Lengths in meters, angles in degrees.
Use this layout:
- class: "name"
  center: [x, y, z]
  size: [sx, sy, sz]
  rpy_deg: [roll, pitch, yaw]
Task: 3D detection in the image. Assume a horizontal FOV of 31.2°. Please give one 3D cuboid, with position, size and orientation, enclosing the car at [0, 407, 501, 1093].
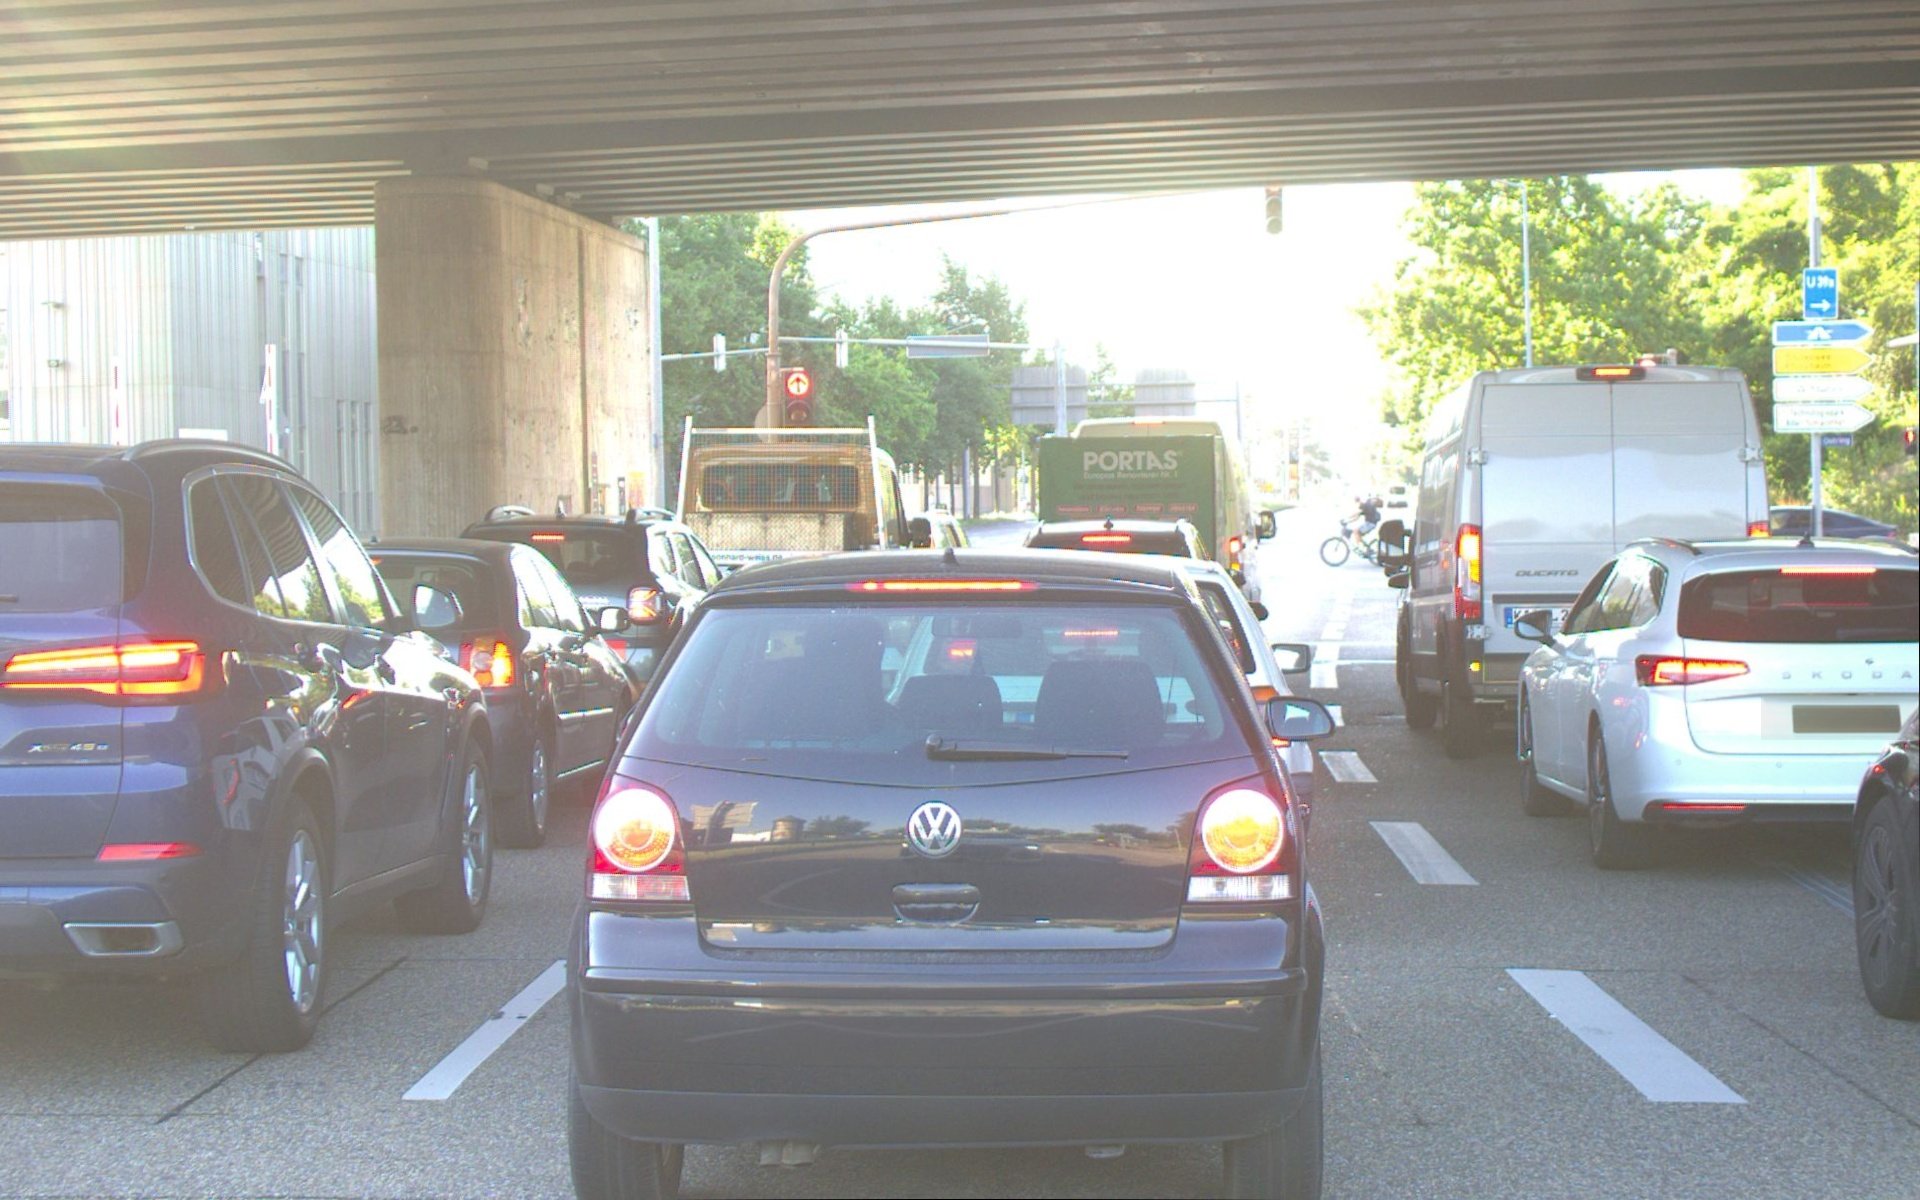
- class: "car"
  center: [-2.737, 0.377, 10.962]
  size: [1.829, 1.732, 4.461]
  rpy_deg: [-1, 0, 1]

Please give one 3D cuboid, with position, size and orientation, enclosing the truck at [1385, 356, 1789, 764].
- class: "truck"
  center: [4.233, -0.270, 23.936]
  size: [2.111, 2.511, 4.401]
  rpy_deg: [-2, 0, 2]

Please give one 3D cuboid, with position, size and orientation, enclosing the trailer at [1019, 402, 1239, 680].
- class: "trailer"
  center: [1.679, -0.544, 32.957]
  size: [1.864, 2.456, 3.831]
  rpy_deg: [-2, 0, 5]

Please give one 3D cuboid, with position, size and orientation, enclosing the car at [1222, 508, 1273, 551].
- class: "car"
  center: [9.322, -2.290, 111.680]
  size: [1.339, 1.277, 2.893]
  rpy_deg: [-4, 0, 0]

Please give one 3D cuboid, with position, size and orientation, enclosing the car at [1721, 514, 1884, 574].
- class: "car"
  center: [15.701, -1.037, 64.149]
  size: [2.823, 1.077, 1.218]
  rpy_deg: [0, 0, 8]

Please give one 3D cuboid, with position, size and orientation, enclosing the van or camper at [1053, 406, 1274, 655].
- class: "van or camper"
  center: [2.360, -0.733, 38.432]
  size: [1.994, 2.562, 5.916]
  rpy_deg: [0, 0, 8]

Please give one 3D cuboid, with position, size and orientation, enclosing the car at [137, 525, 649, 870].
- class: "car"
  center: [-2.714, 0.425, 17.280]
  size: [1.841, 1.435, 3.675]
  rpy_deg: [-4, 0, 1]

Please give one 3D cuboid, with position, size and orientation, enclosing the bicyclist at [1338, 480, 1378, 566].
- class: "bicyclist"
  center: [9.564, -1.848, 82.693]
  size: [0.828, 2.007, 0.682]
  rpy_deg: [-4, 0, 6]

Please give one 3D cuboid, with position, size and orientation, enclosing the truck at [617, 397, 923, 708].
- class: "truck"
  center: [-1.594, -0.406, 31.018]
  size: [2.028, 2.548, 5.536]
  rpy_deg: [0, 0, 4]

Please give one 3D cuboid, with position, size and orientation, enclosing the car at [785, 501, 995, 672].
- class: "car"
  center: [-0.771, -0.157, 40.464]
  size: [1.994, 1.894, 3.999]
  rpy_deg: [-1, 0, 6]

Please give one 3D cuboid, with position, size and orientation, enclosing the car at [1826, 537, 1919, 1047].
- class: "car"
  center: [3.612, 0.600, 8.737]
  size: [1.740, 1.449, 4.606]
  rpy_deg: [0, 2, 1]

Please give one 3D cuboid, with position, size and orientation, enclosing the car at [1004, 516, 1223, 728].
- class: "car"
  center: [1.233, 0.153, 26.788]
  size: [1.582, 1.527, 3.831]
  rpy_deg: [0, 0, 4]

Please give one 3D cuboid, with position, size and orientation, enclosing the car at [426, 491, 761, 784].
- class: "car"
  center: [-2.401, 0.225, 23.445]
  size: [1.841, 1.713, 4.000]
  rpy_deg: [-4, 0, -1]

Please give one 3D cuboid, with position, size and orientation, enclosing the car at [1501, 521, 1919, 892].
- class: "car"
  center: [3.626, 0.421, 16.046]
  size: [1.772, 1.490, 3.831]
  rpy_deg: [-2, 0, 3]

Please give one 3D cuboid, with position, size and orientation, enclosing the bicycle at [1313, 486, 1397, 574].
- class: "bicycle"
  center: [9.510, -1.681, 82.709]
  size: [1.878, 2.007, 0.570]
  rpy_deg: [-4, 0, 7]

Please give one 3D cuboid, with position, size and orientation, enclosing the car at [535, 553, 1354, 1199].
- class: "car"
  center: [-0.039, 0.608, 8.560]
  size: [1.581, 1.404, 3.832]
  rpy_deg: [0, 0, 0]

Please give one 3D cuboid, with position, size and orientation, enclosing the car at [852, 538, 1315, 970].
- class: "car"
  center: [0.513, 0.515, 13.810]
  size: [1.547, 1.418, 3.417]
  rpy_deg: [-4, 1, 3]
